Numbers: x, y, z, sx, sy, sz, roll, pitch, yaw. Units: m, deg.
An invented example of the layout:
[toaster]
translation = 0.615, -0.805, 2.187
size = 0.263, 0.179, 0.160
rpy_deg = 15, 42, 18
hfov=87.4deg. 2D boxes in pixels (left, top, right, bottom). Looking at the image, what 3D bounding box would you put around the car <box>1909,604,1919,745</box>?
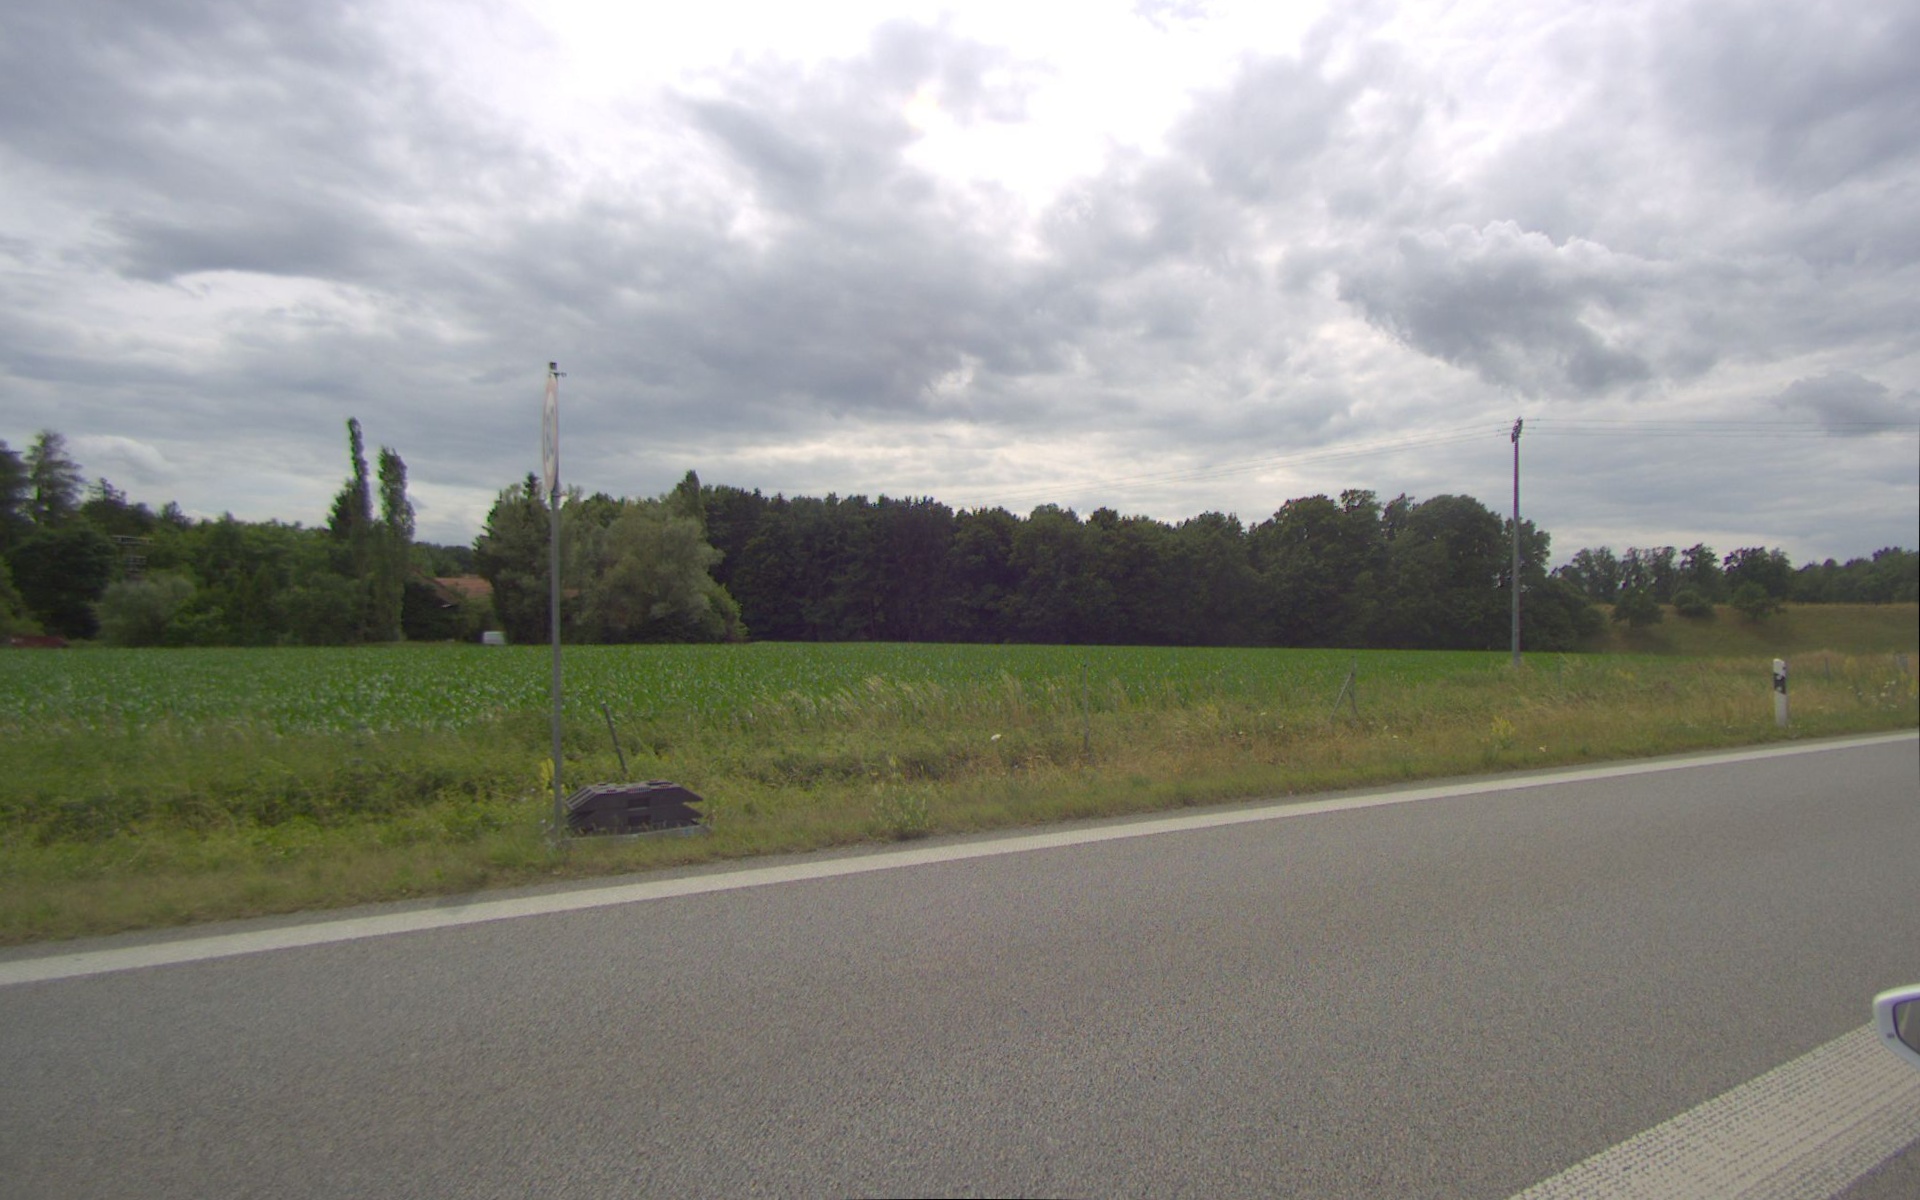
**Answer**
[car]
translation = 13.710, 0.959, 12.239
size = 4.276, 1.679, 1.996
rpy_deg = 2, 0, -30
